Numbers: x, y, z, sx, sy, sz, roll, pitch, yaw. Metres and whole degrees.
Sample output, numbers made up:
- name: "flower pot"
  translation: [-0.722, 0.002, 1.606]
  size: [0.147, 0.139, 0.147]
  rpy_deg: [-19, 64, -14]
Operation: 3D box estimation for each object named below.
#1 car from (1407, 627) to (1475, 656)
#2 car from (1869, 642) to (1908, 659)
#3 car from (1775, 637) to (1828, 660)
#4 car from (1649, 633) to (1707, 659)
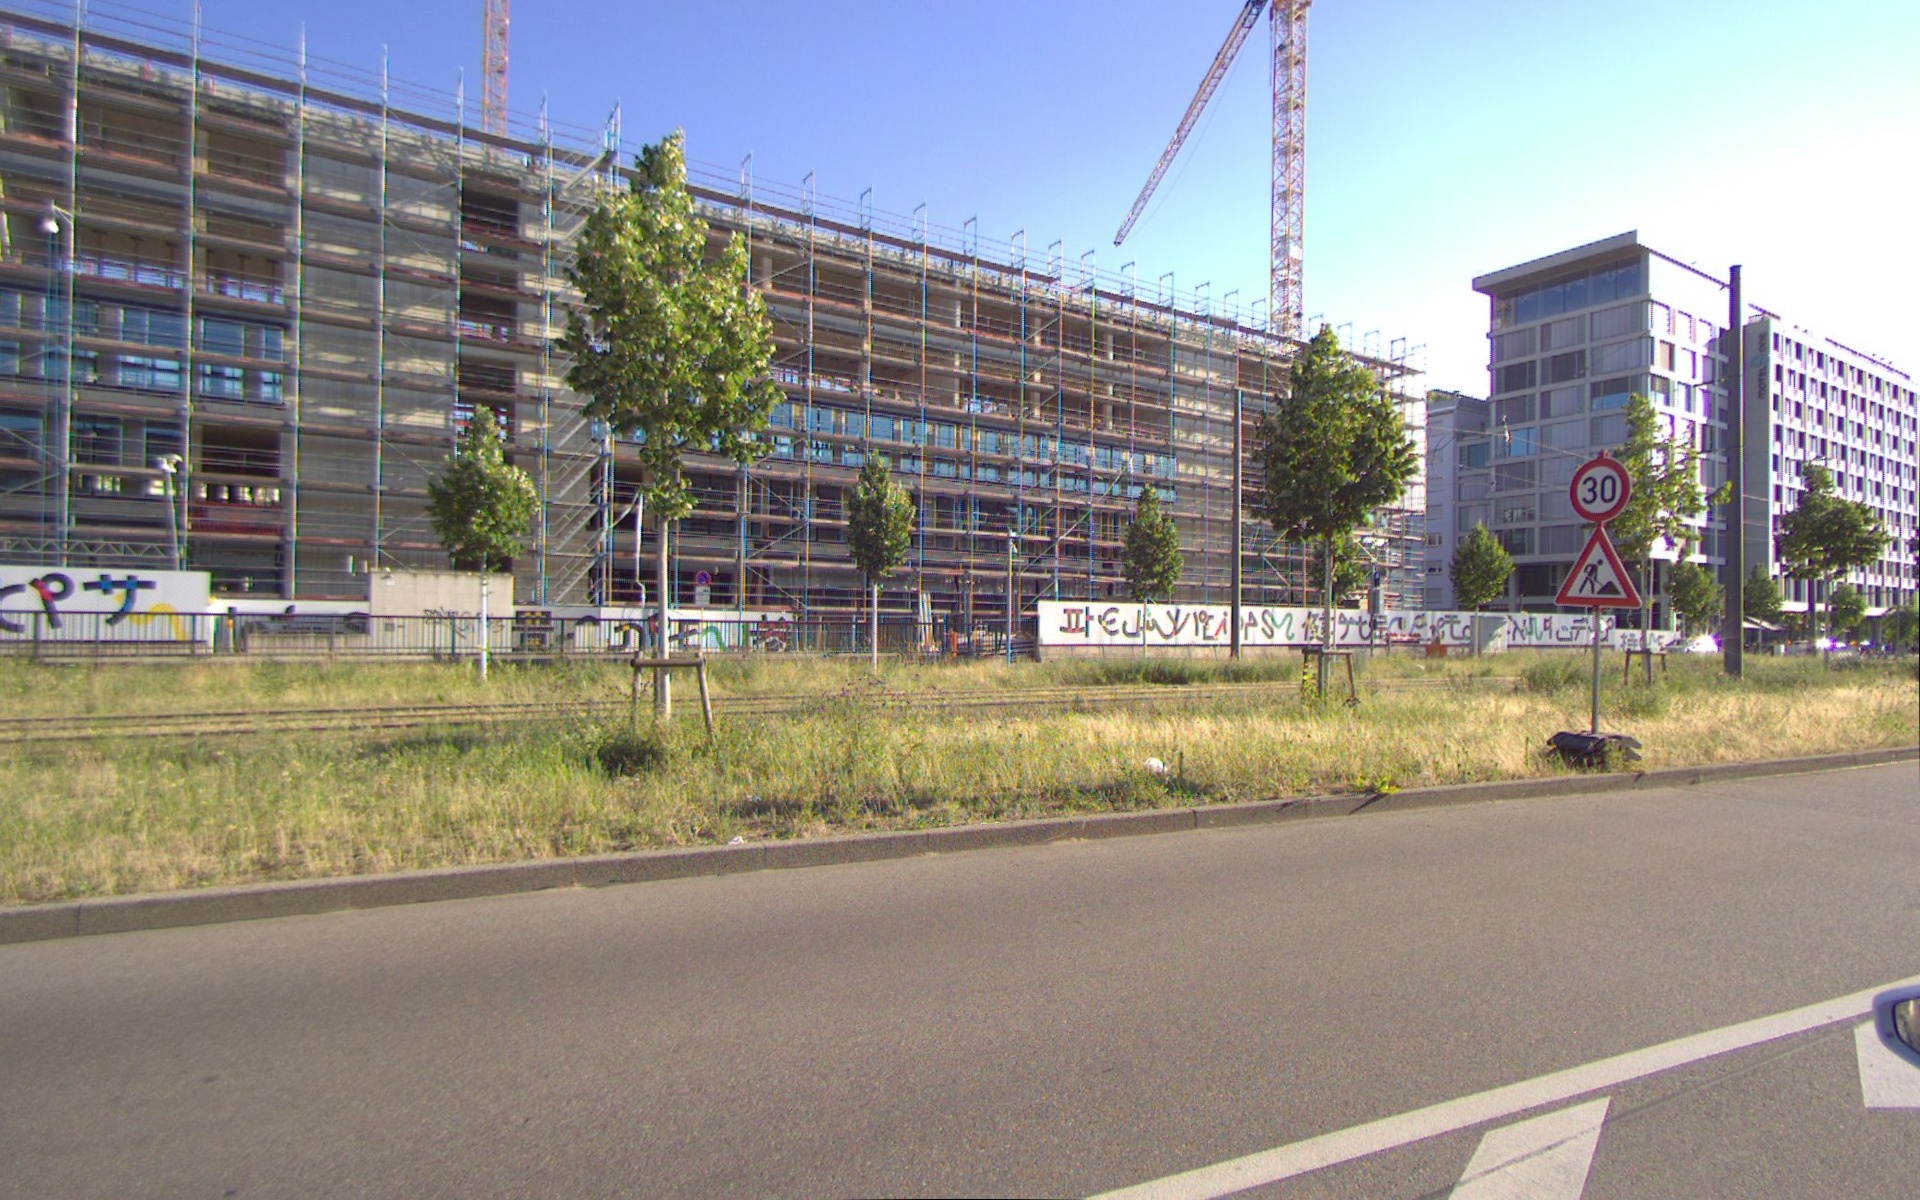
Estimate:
- name: "car"
  translation: [26.086, 2.251, 54.428]
  size: [3.543, 1.461, 1.699]
  rpy_deg: [2, 0, -32]
- name: "car"
  translation: [84.028, 4.569, 90.881]
  size: [3.543, 1.461, 1.699]
  rpy_deg: [2, 0, -32]
- name: "car"
  translation: [55.976, 3.216, 66.771]
  size: [3.543, 1.461, 1.699]
  rpy_deg: [2, 0, -32]
- name: "car"
  translation: [44.326, 2.840, 61.967]
  size: [3.543, 1.461, 1.699]
  rpy_deg: [2, 0, -32]
